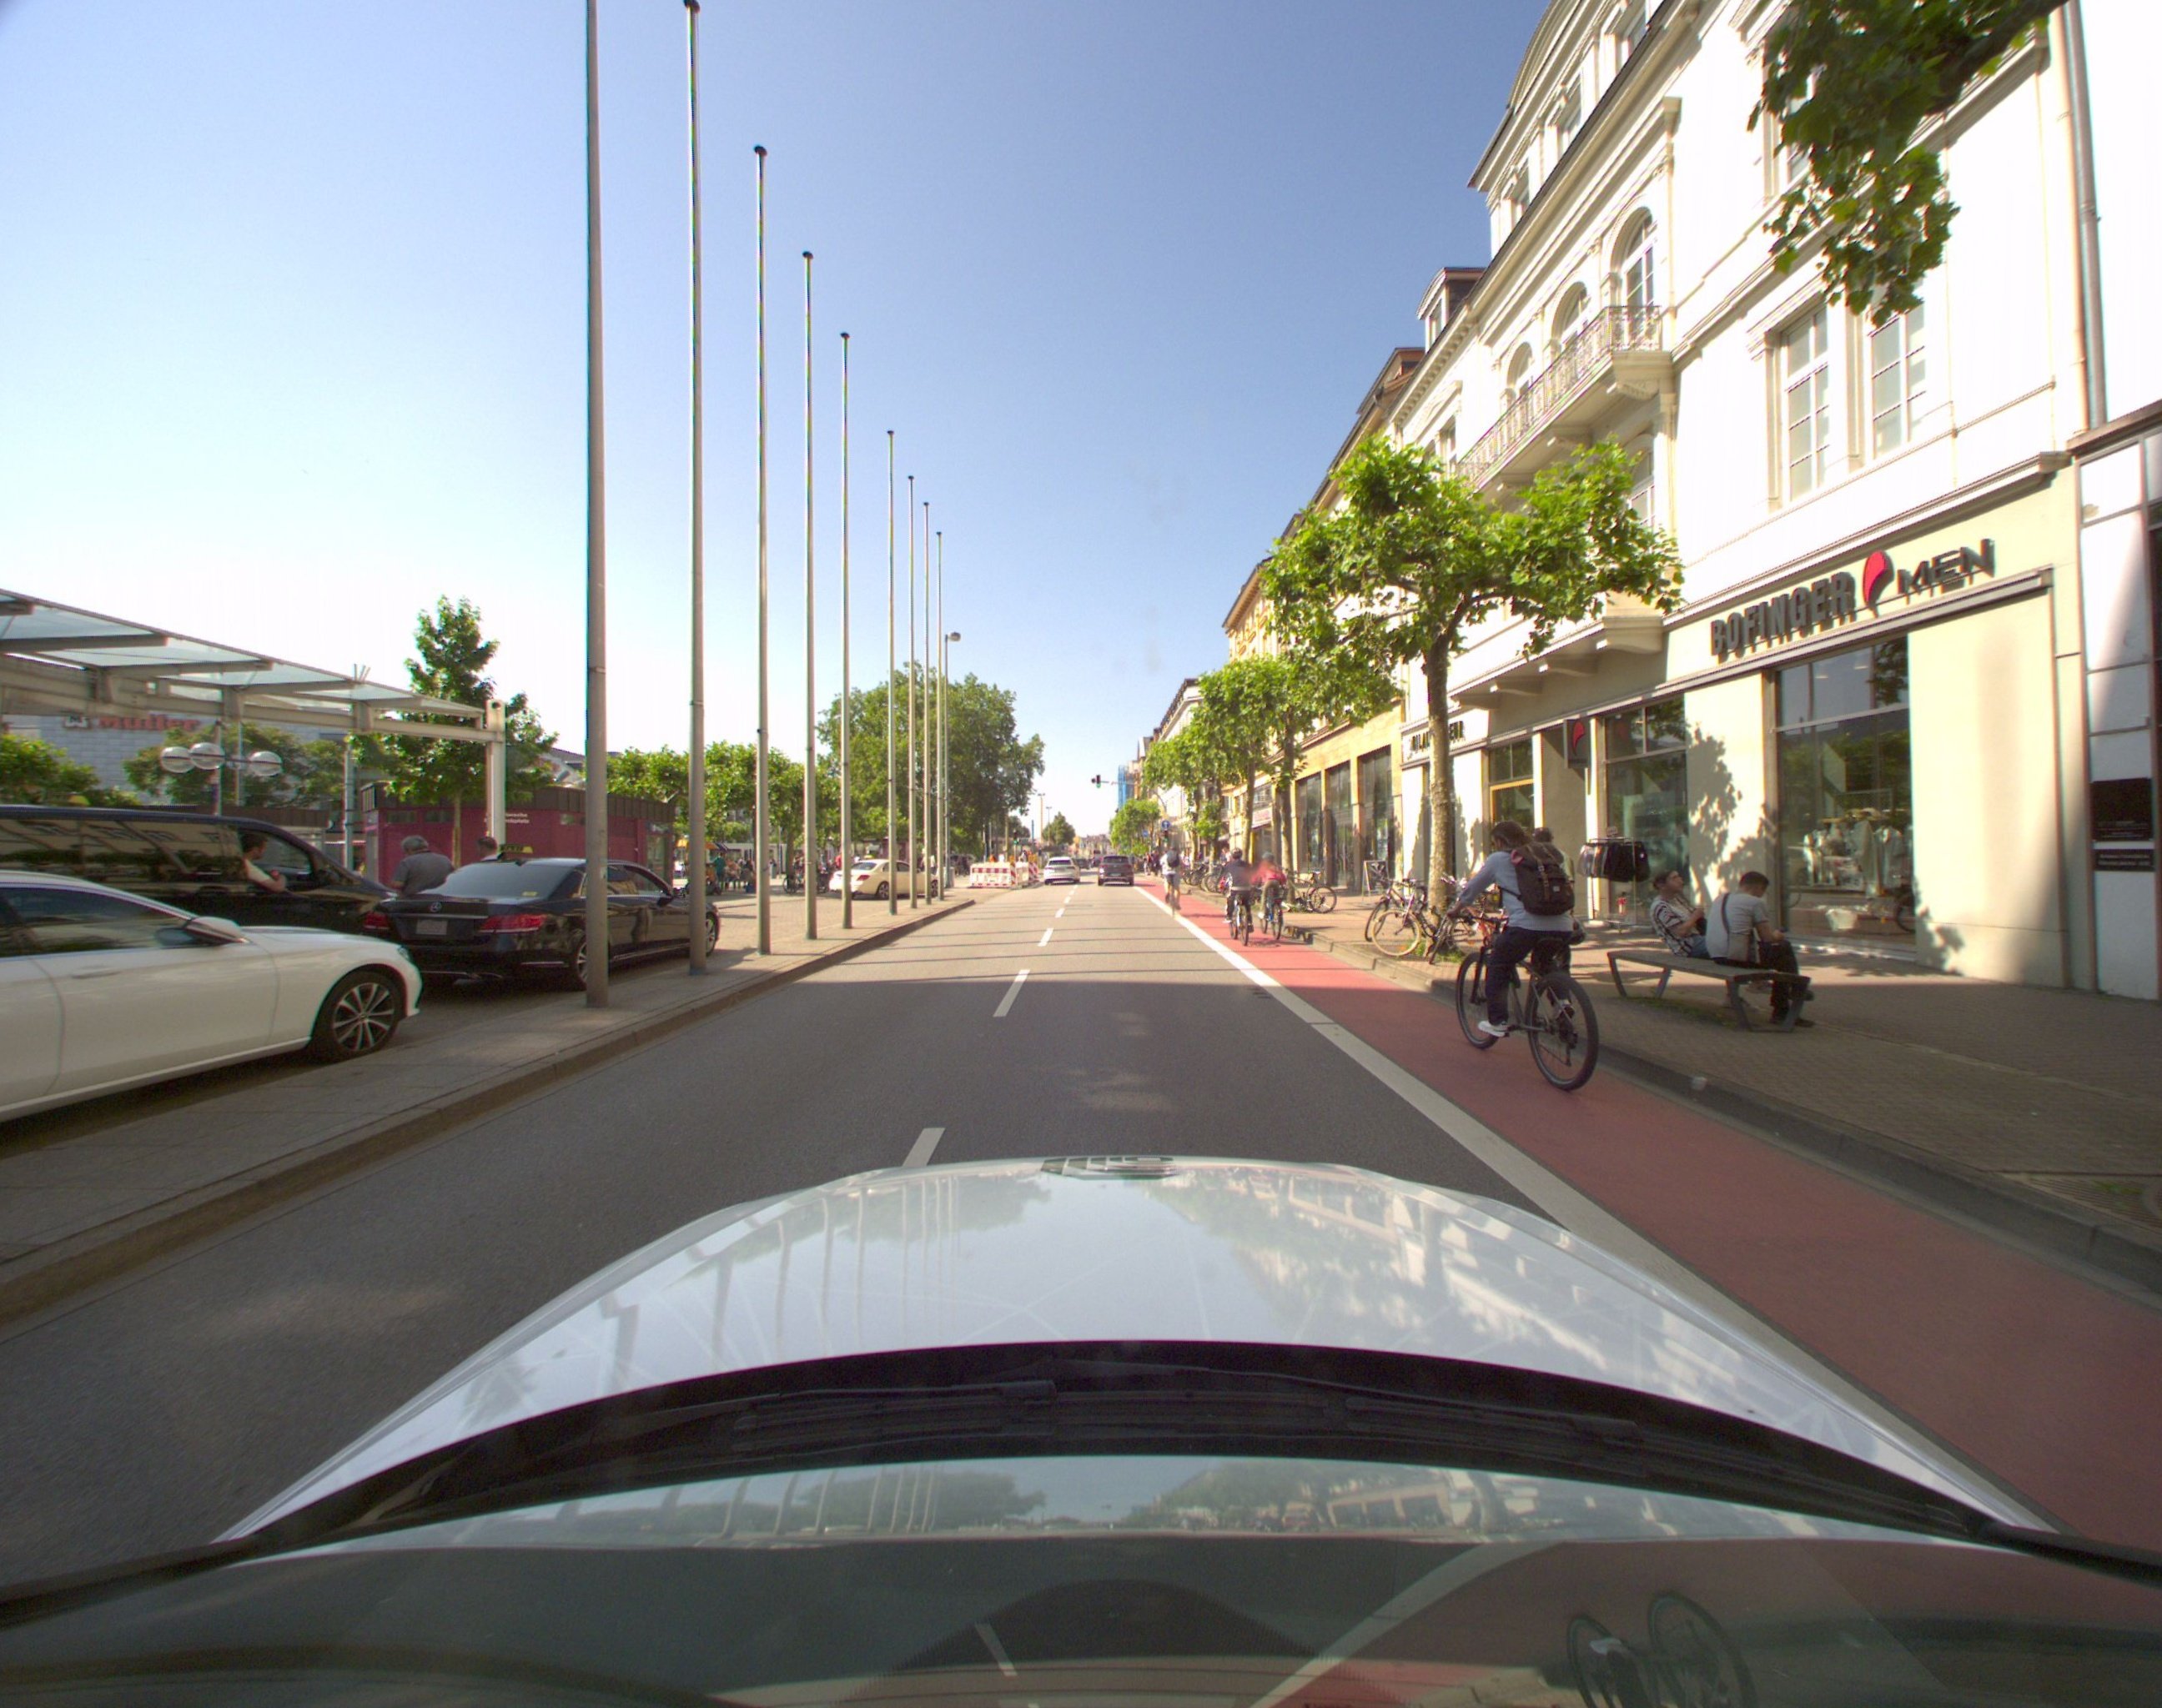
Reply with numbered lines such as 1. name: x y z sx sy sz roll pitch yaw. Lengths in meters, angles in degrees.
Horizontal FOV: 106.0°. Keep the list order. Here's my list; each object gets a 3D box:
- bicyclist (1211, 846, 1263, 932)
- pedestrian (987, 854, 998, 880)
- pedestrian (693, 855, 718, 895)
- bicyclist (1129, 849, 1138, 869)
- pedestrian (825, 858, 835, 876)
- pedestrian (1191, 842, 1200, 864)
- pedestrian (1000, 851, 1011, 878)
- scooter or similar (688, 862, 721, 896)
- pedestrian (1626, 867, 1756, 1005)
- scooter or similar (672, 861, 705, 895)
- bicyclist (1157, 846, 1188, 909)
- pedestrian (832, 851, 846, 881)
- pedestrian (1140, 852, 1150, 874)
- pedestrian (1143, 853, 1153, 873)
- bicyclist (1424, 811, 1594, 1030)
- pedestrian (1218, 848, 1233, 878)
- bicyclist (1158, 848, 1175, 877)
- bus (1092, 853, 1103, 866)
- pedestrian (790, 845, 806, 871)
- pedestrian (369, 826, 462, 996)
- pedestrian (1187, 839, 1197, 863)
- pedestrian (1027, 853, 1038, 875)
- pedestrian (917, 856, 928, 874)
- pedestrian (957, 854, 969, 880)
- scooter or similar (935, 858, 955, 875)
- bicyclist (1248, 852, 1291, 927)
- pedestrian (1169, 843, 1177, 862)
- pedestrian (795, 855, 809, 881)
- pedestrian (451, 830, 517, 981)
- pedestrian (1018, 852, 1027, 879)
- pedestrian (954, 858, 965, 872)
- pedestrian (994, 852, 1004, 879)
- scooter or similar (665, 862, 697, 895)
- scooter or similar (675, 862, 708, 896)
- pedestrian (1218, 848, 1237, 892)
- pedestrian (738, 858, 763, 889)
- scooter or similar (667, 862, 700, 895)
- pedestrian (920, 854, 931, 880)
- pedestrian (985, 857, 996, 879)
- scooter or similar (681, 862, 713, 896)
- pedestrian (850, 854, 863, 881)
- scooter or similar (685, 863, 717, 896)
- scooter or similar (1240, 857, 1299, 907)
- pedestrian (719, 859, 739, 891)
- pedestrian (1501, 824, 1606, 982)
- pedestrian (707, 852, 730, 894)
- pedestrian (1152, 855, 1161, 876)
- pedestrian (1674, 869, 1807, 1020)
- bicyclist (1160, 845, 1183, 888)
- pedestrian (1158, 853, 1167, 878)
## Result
1. bicyclist: 2.677 0.594 14.040 0.697 1.440 0.790 1 -1 -3
2. pedestrian: -5.768 0.861 53.130 0.543 1.718 0.600 1 -1 -30
3. pedestrian: -15.437 0.852 33.464 0.804 1.606 0.670 0 0 -13
4. bicyclist: 4.066 0.405 62.895 0.645 1.551 0.817 -1 -1 0
5. pedestrian: -18.084 0.919 58.635 0.611 1.262 0.608 0 -1 -21
6. pedestrian: 8.595 -0.089 61.017 0.521 1.609 0.641 -2 -1 1
7. pedestrian: -4.898 0.681 52.752 0.431 1.740 0.600 1 -1 -30
8. scooter or similar: -13.914 0.911 30.140 0.231 1.214 1.310 0 0 20
9. pedestrian: 5.708 0.745 7.651 0.785 1.243 0.575 0 -2 -2
10. scooter or similar: -14.760 0.886 30.624 0.231 1.214 1.310 0 0 20
11. bicyclist: 2.230 0.560 19.937 0.628 1.481 1.198 -1 0 0
12. pedestrian: -15.391 0.778 51.715 0.666 1.879 0.625 1 -1 -34
13. pedestrian: 5.178 0.710 66.163 0.608 1.739 0.677 -5 -1 -1
14. pedestrian: 5.222 0.682 63.208 0.608 1.515 0.677 -5 -1 -1
15. bicyclist: 3.047 0.444 5.890 0.697 1.446 0.960 1 -1 -3
16. pedestrian: 8.701 0.548 49.141 0.655 1.790 1.233 -1 -2 0
17. bicyclist: 5.508 0.559 52.498 0.577 1.797 0.848 -3 0 -34
18. bus: 4.556 1.573 230.302 2.985 3.594 11.742 -1 -1 0
19. pedestrian: -18.980 0.286 54.683 0.598 1.749 0.809 -1 -2 32
20. pedestrian: -7.421 0.603 9.081 0.612 1.792 0.697 -1 0 40
21. pedestrian: 7.763 -0.180 56.955 0.546 1.640 0.589 -2 -1 4
22. pedestrian: -3.616 0.733 60.878 0.627 1.595 0.690 -1 -1 22
23. pedestrian: -13.335 0.919 68.636 0.627 1.478 0.735 -1 -1 22
24. pedestrian: -8.497 0.926 58.648 0.627 1.859 0.690 -1 -1 22
25. scooter or similar: -11.549 1.041 68.994 1.264 1.421 1.045 -1 -1 31
26. bicyclist: 3.486 0.641 15.087 0.598 1.357 0.720 -1 0 -2
27. pedestrian: 8.401 -0.137 74.328 0.673 1.792 0.612 -1 -1 0
28. pedestrian: -16.404 0.812 47.890 0.573 1.532 0.607 1 -1 6
29. pedestrian: -7.363 0.610 10.052 0.526 1.792 0.542 -1 0 40
30. pedestrian: -4.125 0.791 57.242 0.529 1.919 0.560 -1 -1 2
31. pedestrian: -10.160 0.935 68.184 0.627 1.144 0.669 -1 -1 21
32. pedestrian: -5.418 0.755 53.903 0.536 1.779 0.607 1 -1 6
33. scooter or similar: -15.178 0.920 30.915 0.231 1.214 1.310 0 0 20
34. scooter or similar: -14.555 0.921 30.478 0.231 1.214 1.310 0 0 20
35. pedestrian: 5.513 0.600 30.657 0.612 1.612 0.745 0 0 2
36. pedestrian: -14.678 0.850 36.165 0.667 1.381 0.899 0 0 9
37. scooter or similar: -14.985 0.912 30.751 0.231 1.214 1.310 0 0 20
38. pedestrian: -10.343 0.859 54.164 0.582 1.722 0.790 -1 0 2
39. pedestrian: -7.422 1.148 66.551 0.627 1.810 0.735 -1 -1 22
40. scooter or similar: -14.328 0.913 30.399 0.231 1.214 1.310 0 0 20
41. pedestrian: -14.254 0.863 51.640 0.573 1.739 0.607 1 -1 6
42. scooter or similar: -14.120 0.934 30.289 0.231 1.214 1.310 0 0 20
43. scooter or similar: 4.925 0.714 21.288 1.465 1.274 0.672 1 -1 11
44. pedestrian: -14.581 0.873 33.756 0.672 1.309 0.683 0 0 -17
45. pedestrian: 5.321 0.528 9.219 0.637 1.689 0.843 2 0 -2
46. pedestrian: -14.714 0.763 33.083 0.670 1.677 0.685 0 0 -8
47. pedestrian: 5.371 0.822 57.996 0.520 1.521 0.642 -2 -1 4
48. pedestrian: 5.622 0.750 6.972 0.637 1.233 0.596 0 -2 -2
49. bicyclist: 3.515 0.495 31.578 0.772 1.635 0.851 -1 0 1
50. pedestrian: 5.566 0.789 55.605 0.546 1.631 0.589 -2 -1 4
